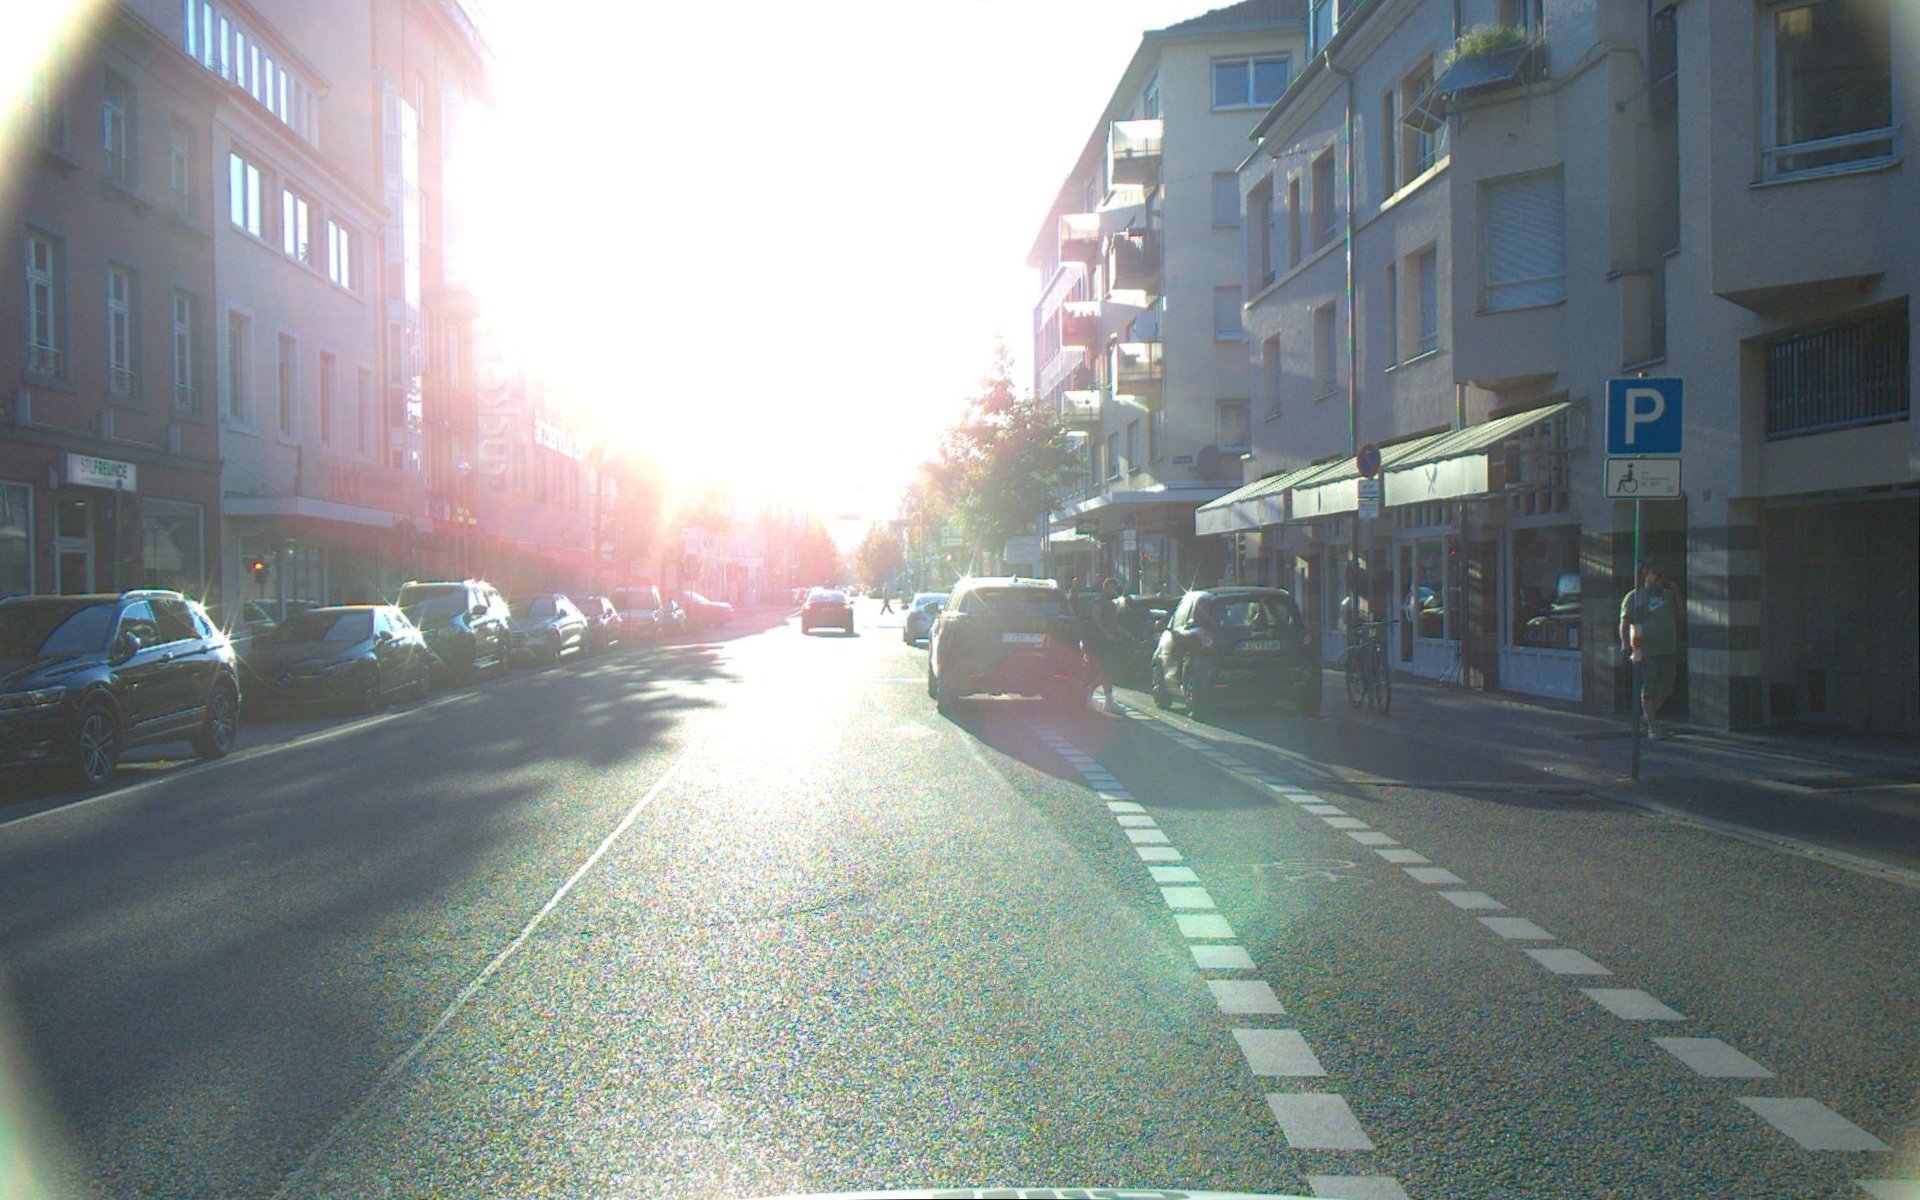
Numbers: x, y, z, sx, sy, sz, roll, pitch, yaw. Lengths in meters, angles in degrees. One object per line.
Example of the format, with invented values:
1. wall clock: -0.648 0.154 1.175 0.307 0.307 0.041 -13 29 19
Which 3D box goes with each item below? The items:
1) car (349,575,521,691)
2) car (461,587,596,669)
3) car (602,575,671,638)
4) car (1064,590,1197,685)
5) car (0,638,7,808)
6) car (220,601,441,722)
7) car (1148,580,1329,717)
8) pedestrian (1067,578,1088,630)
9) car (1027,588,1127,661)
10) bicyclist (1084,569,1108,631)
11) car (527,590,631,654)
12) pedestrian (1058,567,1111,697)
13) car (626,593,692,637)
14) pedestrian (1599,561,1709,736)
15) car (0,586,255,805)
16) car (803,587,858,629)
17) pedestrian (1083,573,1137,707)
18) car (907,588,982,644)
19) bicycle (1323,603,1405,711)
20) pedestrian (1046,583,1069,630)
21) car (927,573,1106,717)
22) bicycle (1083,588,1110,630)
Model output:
1. car: -9.395 0.512 30.069 1.792 1.841 5.343 -2 1 -5
2. car: -9.509 0.558 36.864 1.791 1.583 5.133 -3 1 -3
3. car: -10.164 0.195 52.246 1.798 1.886 4.118 0 0 -7
4. car: 2.801 0.575 27.890 1.601 1.449 3.755 -1 1 -4
5. car: -8.107 0.867 10.645 1.738 1.541 3.948 -2 1 -3
6. car: -8.902 0.804 23.767 1.679 1.465 4.307 -2 1 -3
7. car: 3.479 0.562 21.091 1.601 1.580 2.691 -2 1 -6
8. pedestrian: 4.020 0.131 56.561 0.673 1.751 0.717 -2 0 2
9. car: 2.463 0.478 35.581 1.669 1.461 3.929 -1 0 -3
10. bicyclist: 3.919 -0.005 47.691 0.637 1.732 1.096 -1 0 2
11. car: -9.783 0.531 42.773 1.791 1.464 4.550 -3 0 -3
12. pedestrian: 1.651 0.419 21.948 0.436 1.694 0.560 -2 1 -28
13. car: -10.586 0.500 58.387 1.797 1.351 4.120 -2 1 -4
14. pedestrian: 6.891 0.473 16.452 0.793 1.675 0.606 -2 0 3
15. car: -8.098 0.758 14.945 1.738 1.661 4.236 -3 1 -3
16. car: -4.570 0.265 58.948 1.846 1.440 4.322 0 0 -3
17. pedestrian: 1.948 0.510 21.500 0.436 1.694 0.560 -2 1 -28
18. car: -0.481 0.419 46.537 1.884 1.439 4.545 2 0 -3
19. bicycle: 5.012 0.685 20.619 0.389 1.256 1.823 -1 1 -6
20. pedestrian: 3.334 0.206 56.487 0.674 1.586 0.862 -1 0 -2
21. car: 0.625 0.516 22.000 1.955 1.684 4.671 1 0 -3
22. bicycle: 3.933 0.255 47.746 0.637 1.175 1.932 -1 0 2
